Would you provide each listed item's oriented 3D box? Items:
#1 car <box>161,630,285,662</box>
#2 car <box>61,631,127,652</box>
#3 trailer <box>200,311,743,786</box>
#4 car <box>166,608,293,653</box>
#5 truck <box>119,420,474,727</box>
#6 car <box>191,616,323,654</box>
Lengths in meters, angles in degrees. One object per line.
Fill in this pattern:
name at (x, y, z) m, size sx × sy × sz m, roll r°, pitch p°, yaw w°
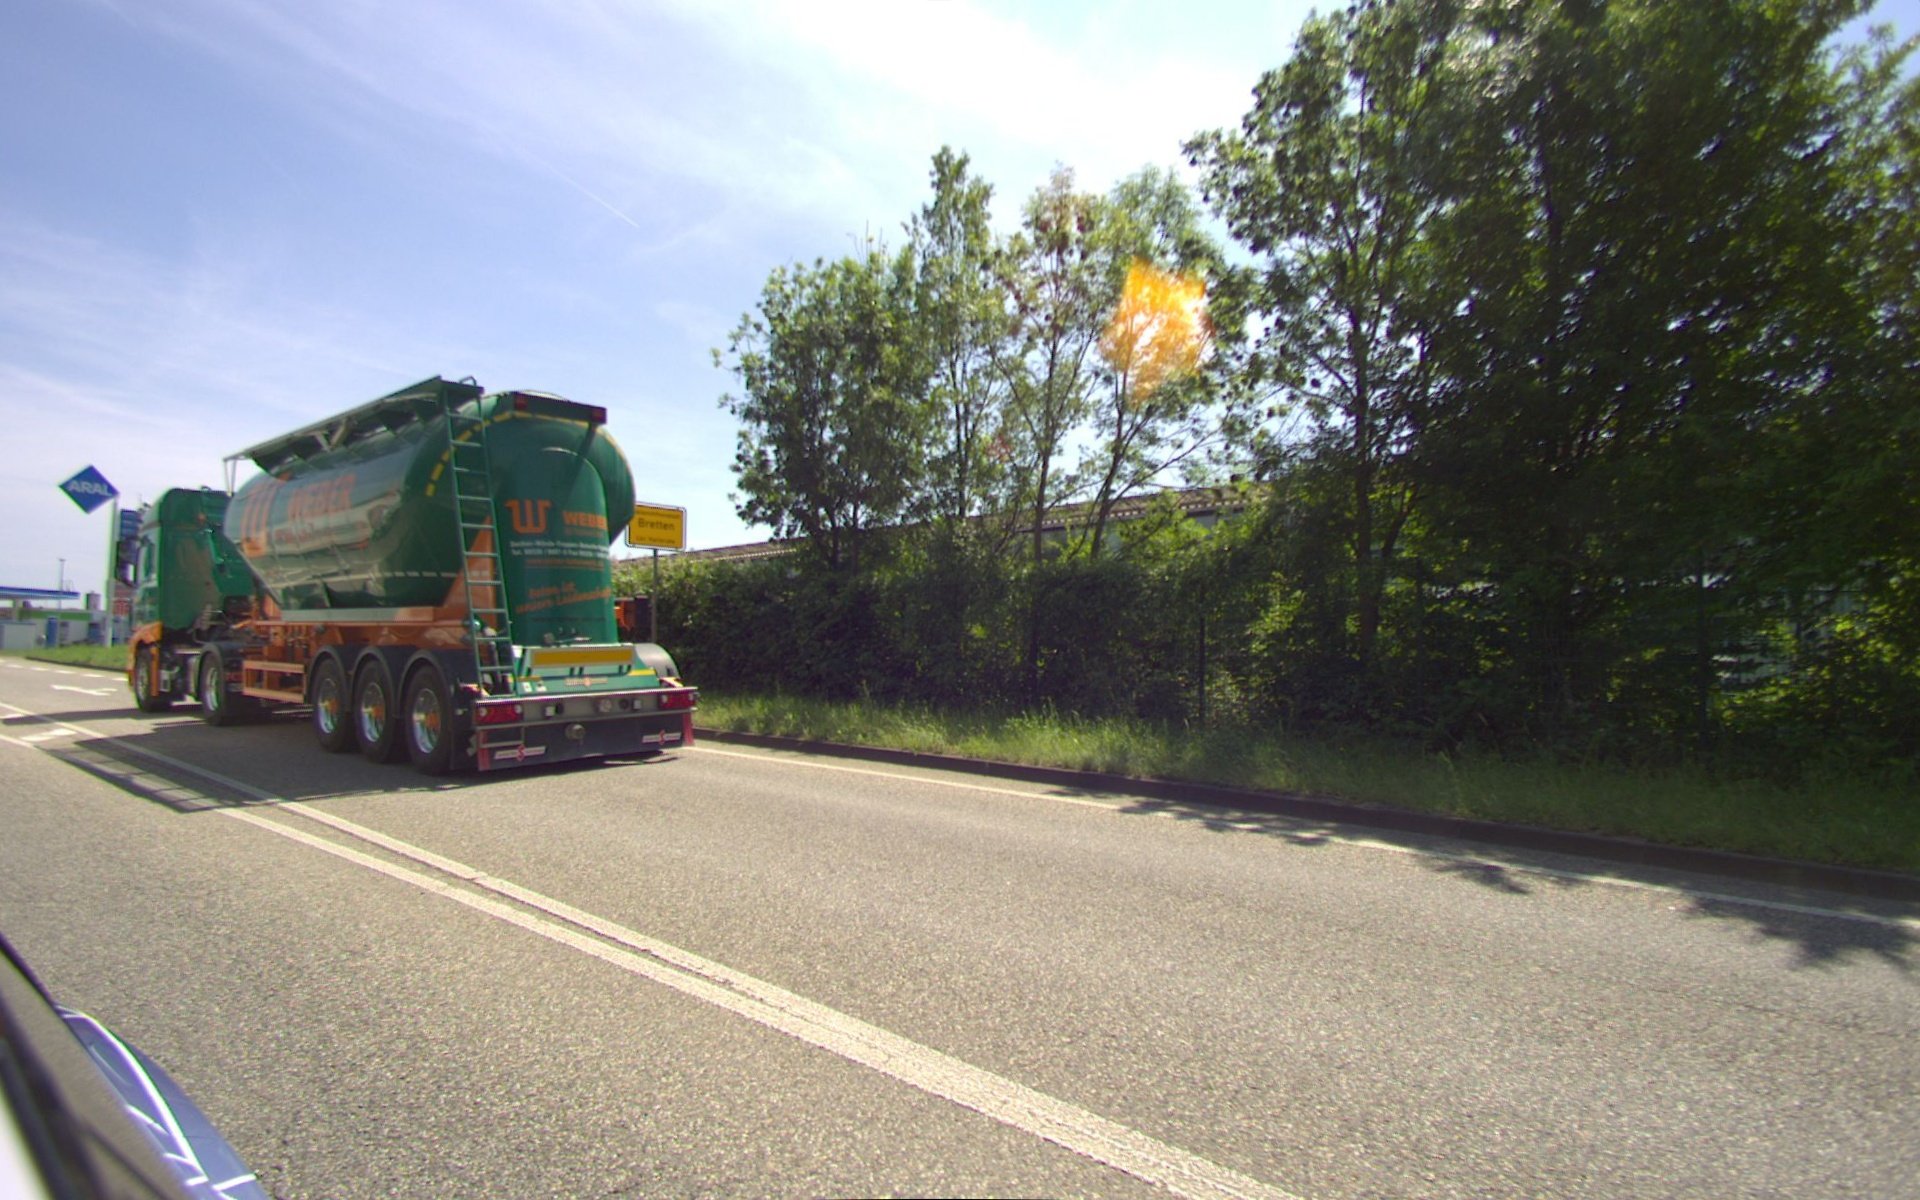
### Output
car at (-33.347, 2.079, 45.844) m, size 1.999 × 1.369 × 4.191 m, roll -2°, pitch -4°, yaw 41°
car at (-71.574, 3.391, 83.691) m, size 3.933 × 1.619 × 1.952 m, roll 0°, pitch -1°, yaw -34°
trailer at (-6.363, -0.333, 12.089) m, size 8.910 × 3.848 × 2.551 m, roll -1°, pitch -1°, yaw 41°
car at (-30.225, 1.294, 41.944) m, size 2.000 × 1.763 × 3.942 m, roll -1°, pitch -3°, yaw 43°
truck at (-10.601, -0.242, 15.757) m, size 7.870 × 3.708 × 2.552 m, roll -1°, pitch -1°, yaw 41°
car at (-28.025, 1.449, 40.419) m, size 2.000 × 1.342 × 3.943 m, roll -3°, pitch -5°, yaw 43°
